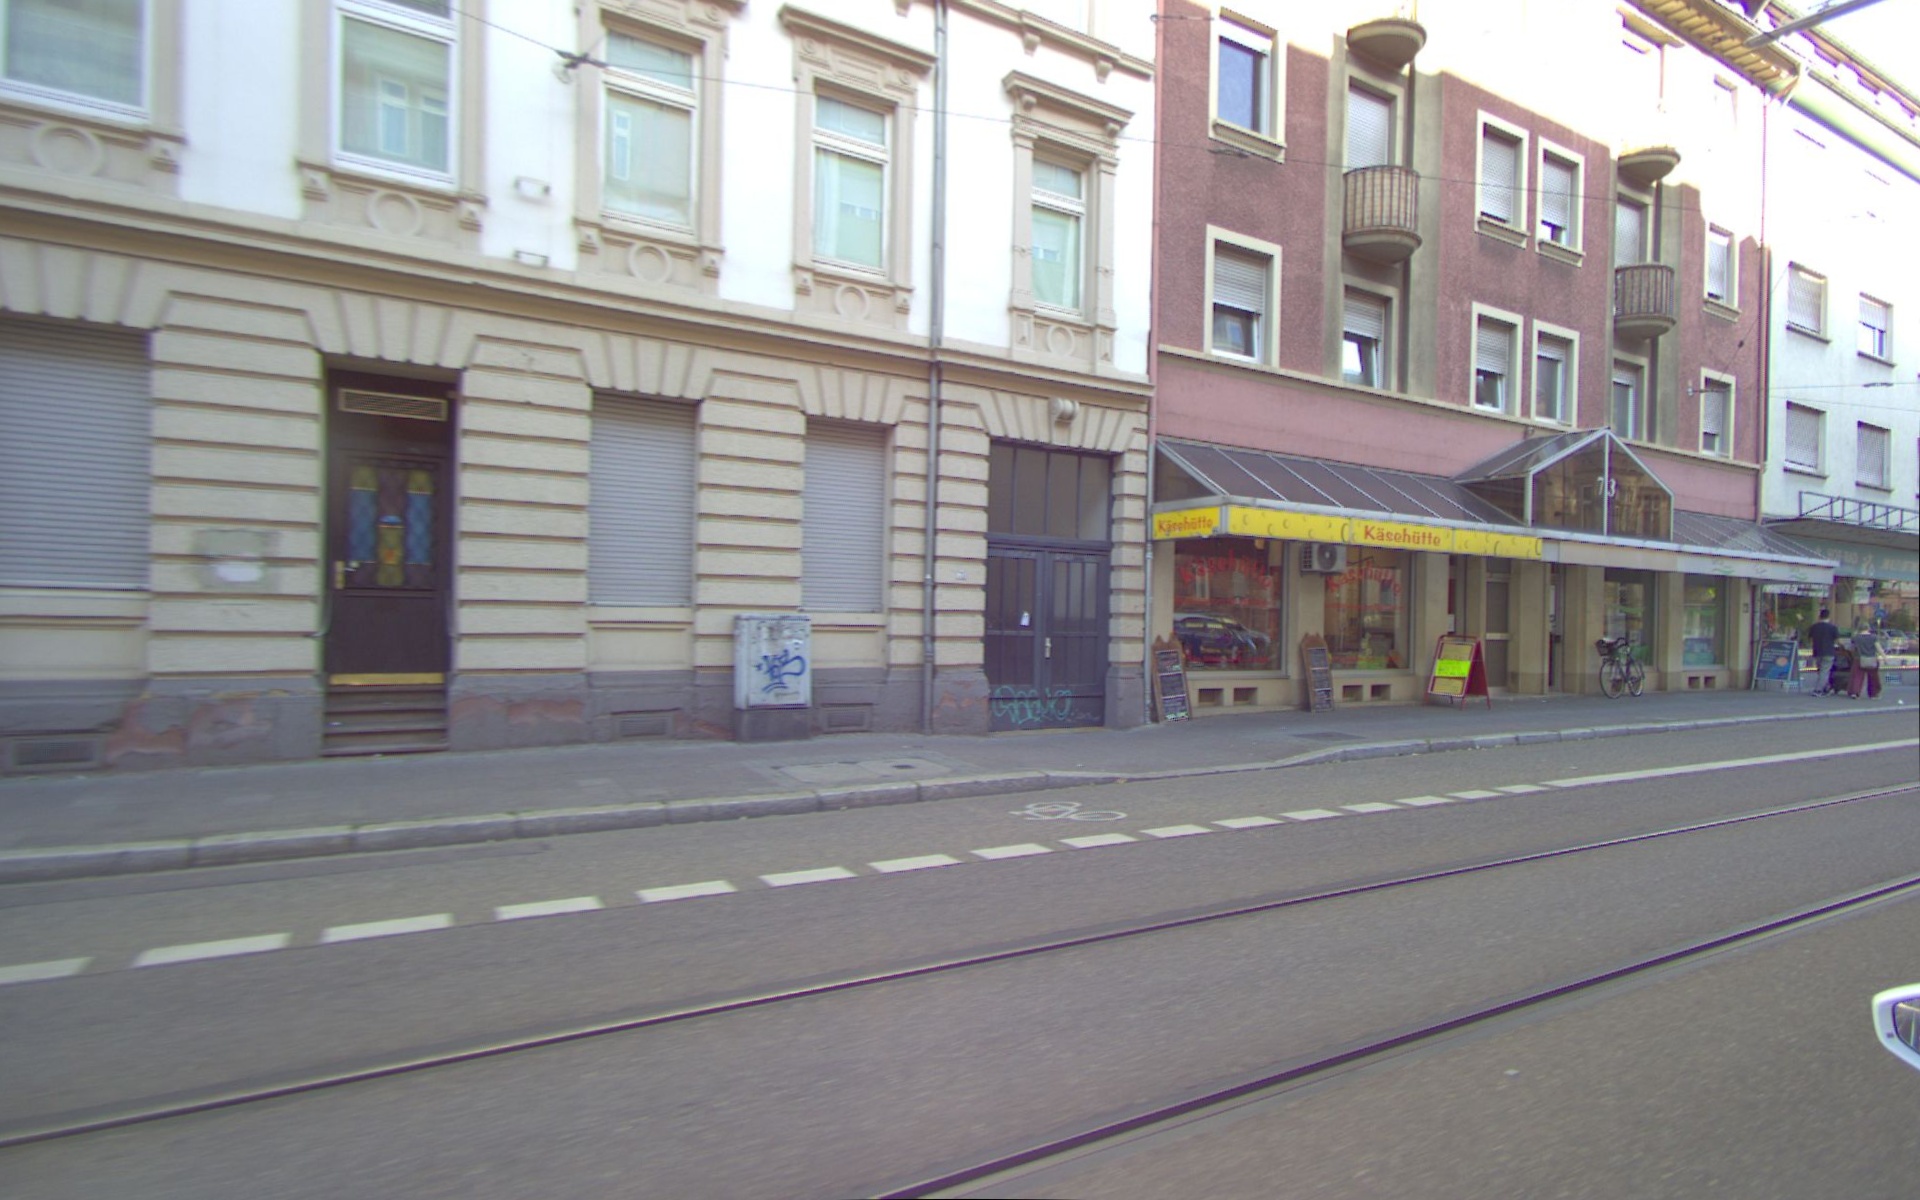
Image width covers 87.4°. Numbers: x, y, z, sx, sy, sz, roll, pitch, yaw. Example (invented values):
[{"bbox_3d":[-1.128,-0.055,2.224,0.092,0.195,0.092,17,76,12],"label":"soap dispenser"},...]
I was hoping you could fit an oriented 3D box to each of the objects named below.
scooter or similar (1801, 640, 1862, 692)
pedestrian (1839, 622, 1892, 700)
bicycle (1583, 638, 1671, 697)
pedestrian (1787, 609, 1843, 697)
[{"bbox_3d":[18.917,1.414,21.811,1.092,1.075,0.658,1,0,-30],"label":"scooter or similar"},{"bbox_3d":[18.987,1.272,21.057,0.616,1.569,0.633,2,0,-30],"label":"pedestrian"},{"bbox_3d":[12.767,1.283,19.187,2.303,1.074,0.422,2,0,-31],"label":"bicycle"},{"bbox_3d":[18.088,1.119,21.257,0.811,1.813,0.622,2,0,-30],"label":"pedestrian"}]
